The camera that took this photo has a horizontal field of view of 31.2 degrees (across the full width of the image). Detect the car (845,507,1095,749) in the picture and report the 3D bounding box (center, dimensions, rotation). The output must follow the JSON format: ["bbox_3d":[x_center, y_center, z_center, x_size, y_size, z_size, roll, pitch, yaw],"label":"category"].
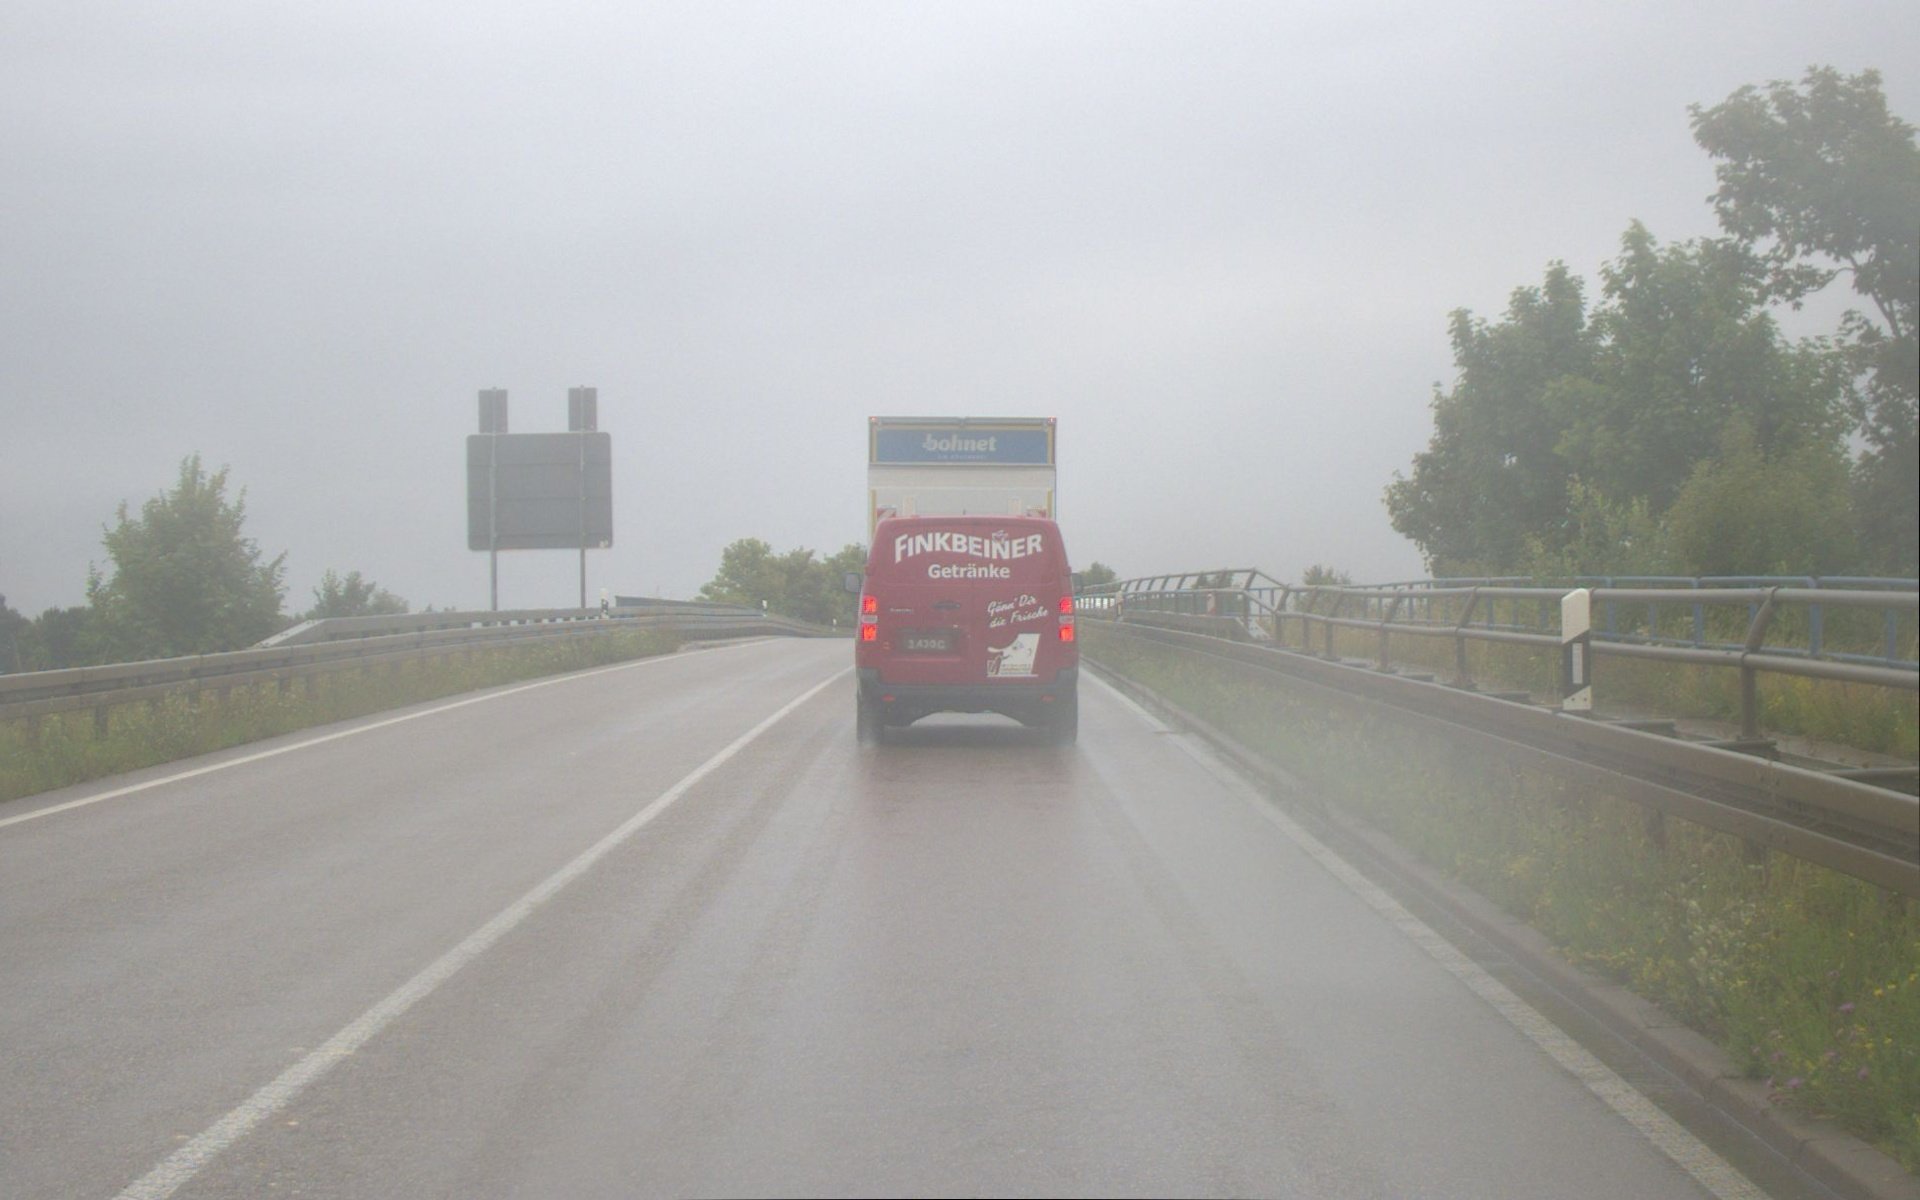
[{"bbox_3d":[0.063,0.206,29.770,1.993,1.919,4.143,1,0,0],"label":"car"}]

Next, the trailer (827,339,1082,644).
[{"bbox_3d":[0.058,-1.387,49.938,3.201,3.909,8.738,3,-1,2],"label":"trailer"}]
